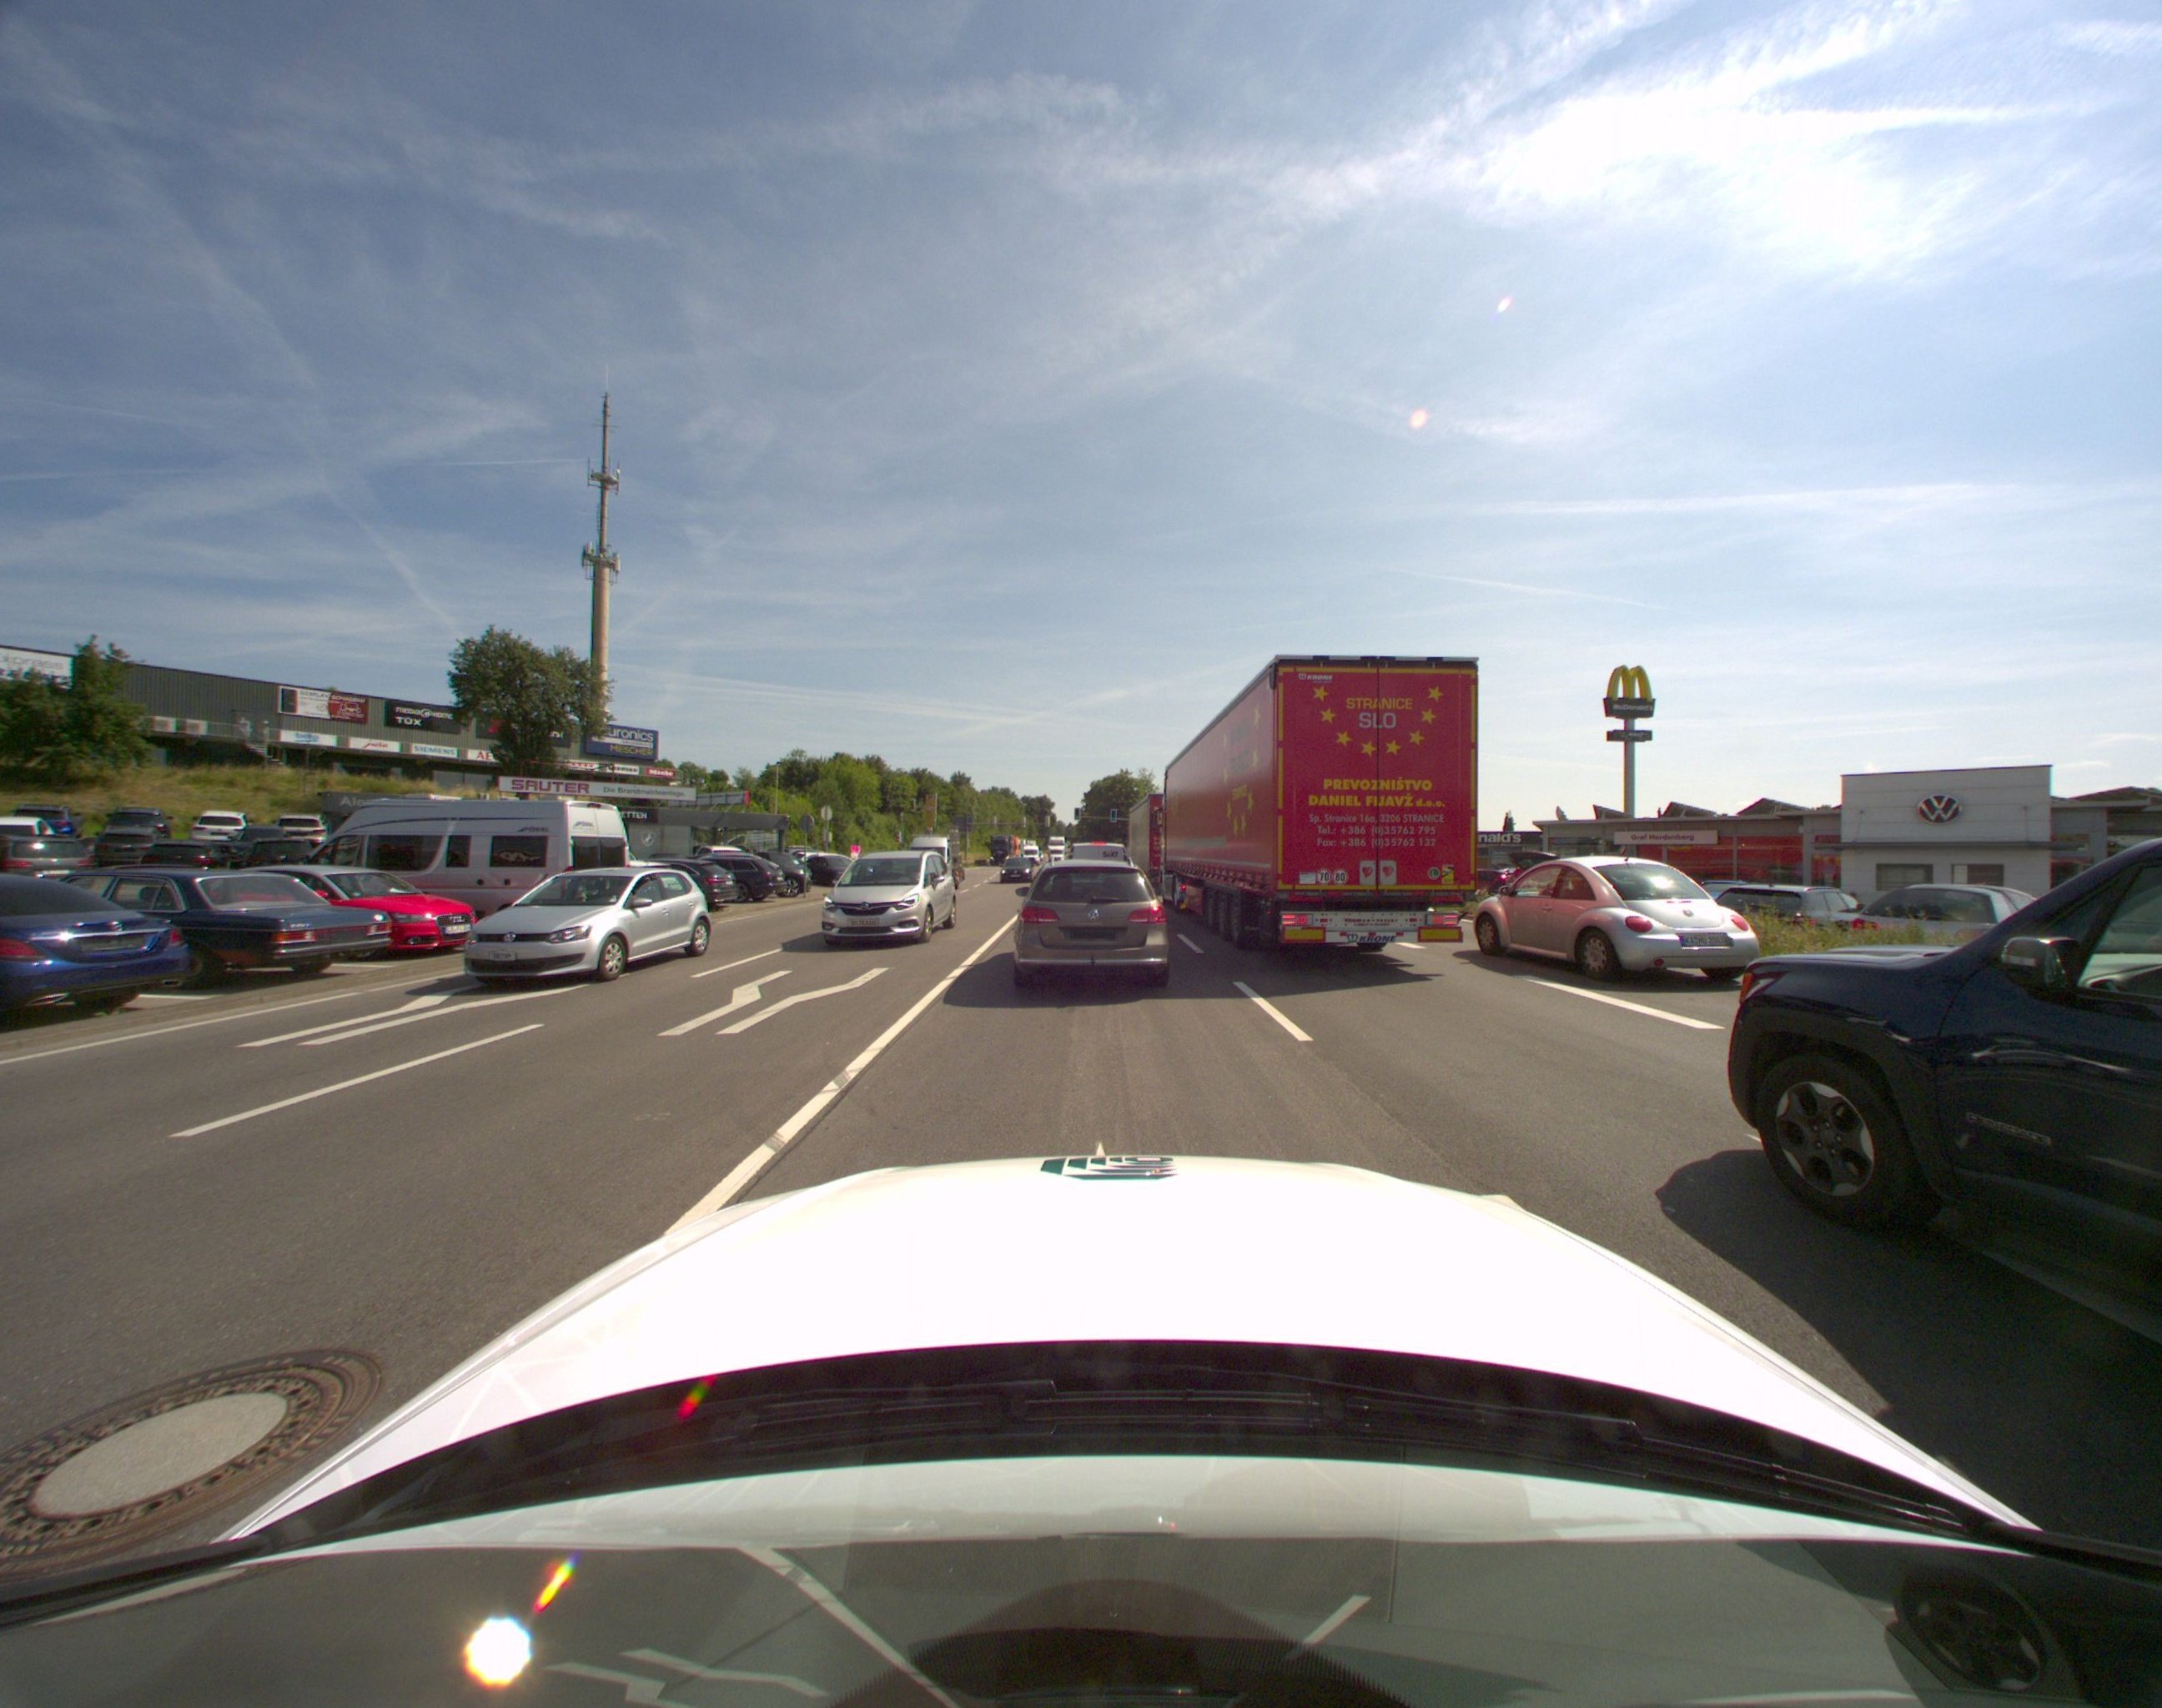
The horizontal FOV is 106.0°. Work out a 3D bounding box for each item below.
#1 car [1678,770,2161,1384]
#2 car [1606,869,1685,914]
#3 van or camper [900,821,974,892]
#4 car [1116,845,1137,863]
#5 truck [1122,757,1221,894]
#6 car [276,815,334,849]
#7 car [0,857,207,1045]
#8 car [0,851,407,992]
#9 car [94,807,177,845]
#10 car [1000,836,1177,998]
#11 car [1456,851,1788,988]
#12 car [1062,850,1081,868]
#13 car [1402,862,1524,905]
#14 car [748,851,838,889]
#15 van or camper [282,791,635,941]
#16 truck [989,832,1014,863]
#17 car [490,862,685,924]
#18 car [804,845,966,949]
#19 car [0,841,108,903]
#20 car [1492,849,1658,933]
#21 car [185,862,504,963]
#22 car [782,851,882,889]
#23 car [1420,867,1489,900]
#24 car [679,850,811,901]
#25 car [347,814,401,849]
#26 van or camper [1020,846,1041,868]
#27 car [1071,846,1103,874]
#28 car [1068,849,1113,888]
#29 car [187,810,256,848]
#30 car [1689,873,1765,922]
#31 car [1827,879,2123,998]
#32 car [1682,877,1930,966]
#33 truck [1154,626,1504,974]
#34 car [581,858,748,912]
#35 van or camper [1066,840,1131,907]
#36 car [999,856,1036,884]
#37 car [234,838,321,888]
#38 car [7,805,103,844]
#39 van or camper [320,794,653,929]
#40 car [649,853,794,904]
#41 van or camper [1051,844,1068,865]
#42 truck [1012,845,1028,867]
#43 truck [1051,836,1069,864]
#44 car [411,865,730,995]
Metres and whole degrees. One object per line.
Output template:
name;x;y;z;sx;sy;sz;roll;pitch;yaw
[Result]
car;3.856;0.600;2.071;1.812;1.685;4.001;-1;0;1
car;21.354;1.352;30.740;1.781;1.531;4.252;0;0;44
van or camper;-6.680;0.118;38.501;2.199;3.056;5.904;2;0;1
car;4.119;0.031;73.760;1.721;1.519;3.311;1;-1;0
truck;3.896;-1.093;39.672;3.052;5.220;17.006;0;0;0
car;-36.476;-0.980;38.340;1.745;1.450;3.704;1;-1;-41
car;-11.347;0.839;7.951;3.697;1.555;1.707;1;1;-2
car;-11.462;0.815;10.659;3.697;1.484;1.707;4;0;-2
car;-40.583;-1.155;35.032;1.745;1.450;3.704;1;-1;-41
car;0.183;0.655;10.065;1.782;1.638;3.507;-1;0;4
car;6.866;0.720;10.929;1.655;1.472;3.995;-1;0;-3
car;-0.978;0.517;85.772;1.719;1.909;3.315;0;-1;3
car;14.991;1.100;32.173;2.005;1.531;3.963;1;0;-28
car;-13.332;0.724;37.663;3.780;1.693;1.854;-1;0;29
van or camper;-11.988;0.222;15.990;5.226;2.731;2.211;0;0;1
truck;-10.135;-0.804;104.761;2.807;3.786;6.981;-2;0;-4
car;-12.441;0.947;20.730;3.805;1.448;1.842;-1;0;-1
car;-3.523;0.714;15.494;1.902;1.663;4.182;-2;0;2
car;-28.982;0.486;21.959;3.795;1.588;1.773;-1;0;8
car;12.329;0.862;20.322;3.852;1.921;1.689;0;0;-25
car;-11.924;0.906;13.373;3.581;1.480;1.813;-1;0;1
car;-12.053;0.753;39.321;4.470;1.693;2.145;-1;0;31
car;18.806;1.423;40.933;4.060;1.536;1.718;0;0;-43
car;-11.654;0.729;28.448;3.805;1.675;1.842;-1;0;-1
car;-32.324;-0.970;37.273;1.745;1.450;3.704;1;-1;-41
van or camper;-6.082;0.366;98.616;2.166;2.551;4.170;0;0;0
car;0.357;0.334;45.246;1.720;1.519;3.313;0;-1;1
car;0.437;0.580;33.042;1.720;1.519;3.313;0;-1;2
car;-38.628;-1.095;36.684;1.745;1.537;3.704;1;-1;-41
car;23.002;1.490;28.970;3.808;1.557;1.681;0;0;-45
car;12.791;1.094;11.657;3.850;1.399;1.690;0;0;-23
car;13.083;1.145;14.736;3.844;1.399;1.692;0;0;-19
truck;3.806;-0.663;18.305;2.947;4.269;16.583;0;0;0
car;-11.877;0.860;23.414;3.805;1.448;1.842;-1;0;-1
van or camper;0.498;0.557;24.972;1.846;1.906;3.784;0;0;0
car;-3.536;0.871;45.933;1.660;1.409;3.927;-2;0;2
car;-27.294;0.295;27.629;3.780;1.588;1.780;-1;0;40
car;-42.148;-1.169;33.544;1.745;1.450;3.704;1;-1;-41
van or camper;-13.273;0.147;18.490;5.870;2.873;2.290;0;0;1
car;-11.444;0.746;26.115;3.805;1.539;1.842;-1;0;-1
van or camper;-3.048;0.130;116.485;2.217;2.841;5.710;0;-1;0
truck;-10.547;0.330;141.318;2.528;3.786;6.981;-2;0;-3
truck;-3.328;-0.680;131.267;2.544;4.307;7.595;-1;0;0
car;-6.830;0.915;11.520;1.830;1.448;4.082;-1;0;2
